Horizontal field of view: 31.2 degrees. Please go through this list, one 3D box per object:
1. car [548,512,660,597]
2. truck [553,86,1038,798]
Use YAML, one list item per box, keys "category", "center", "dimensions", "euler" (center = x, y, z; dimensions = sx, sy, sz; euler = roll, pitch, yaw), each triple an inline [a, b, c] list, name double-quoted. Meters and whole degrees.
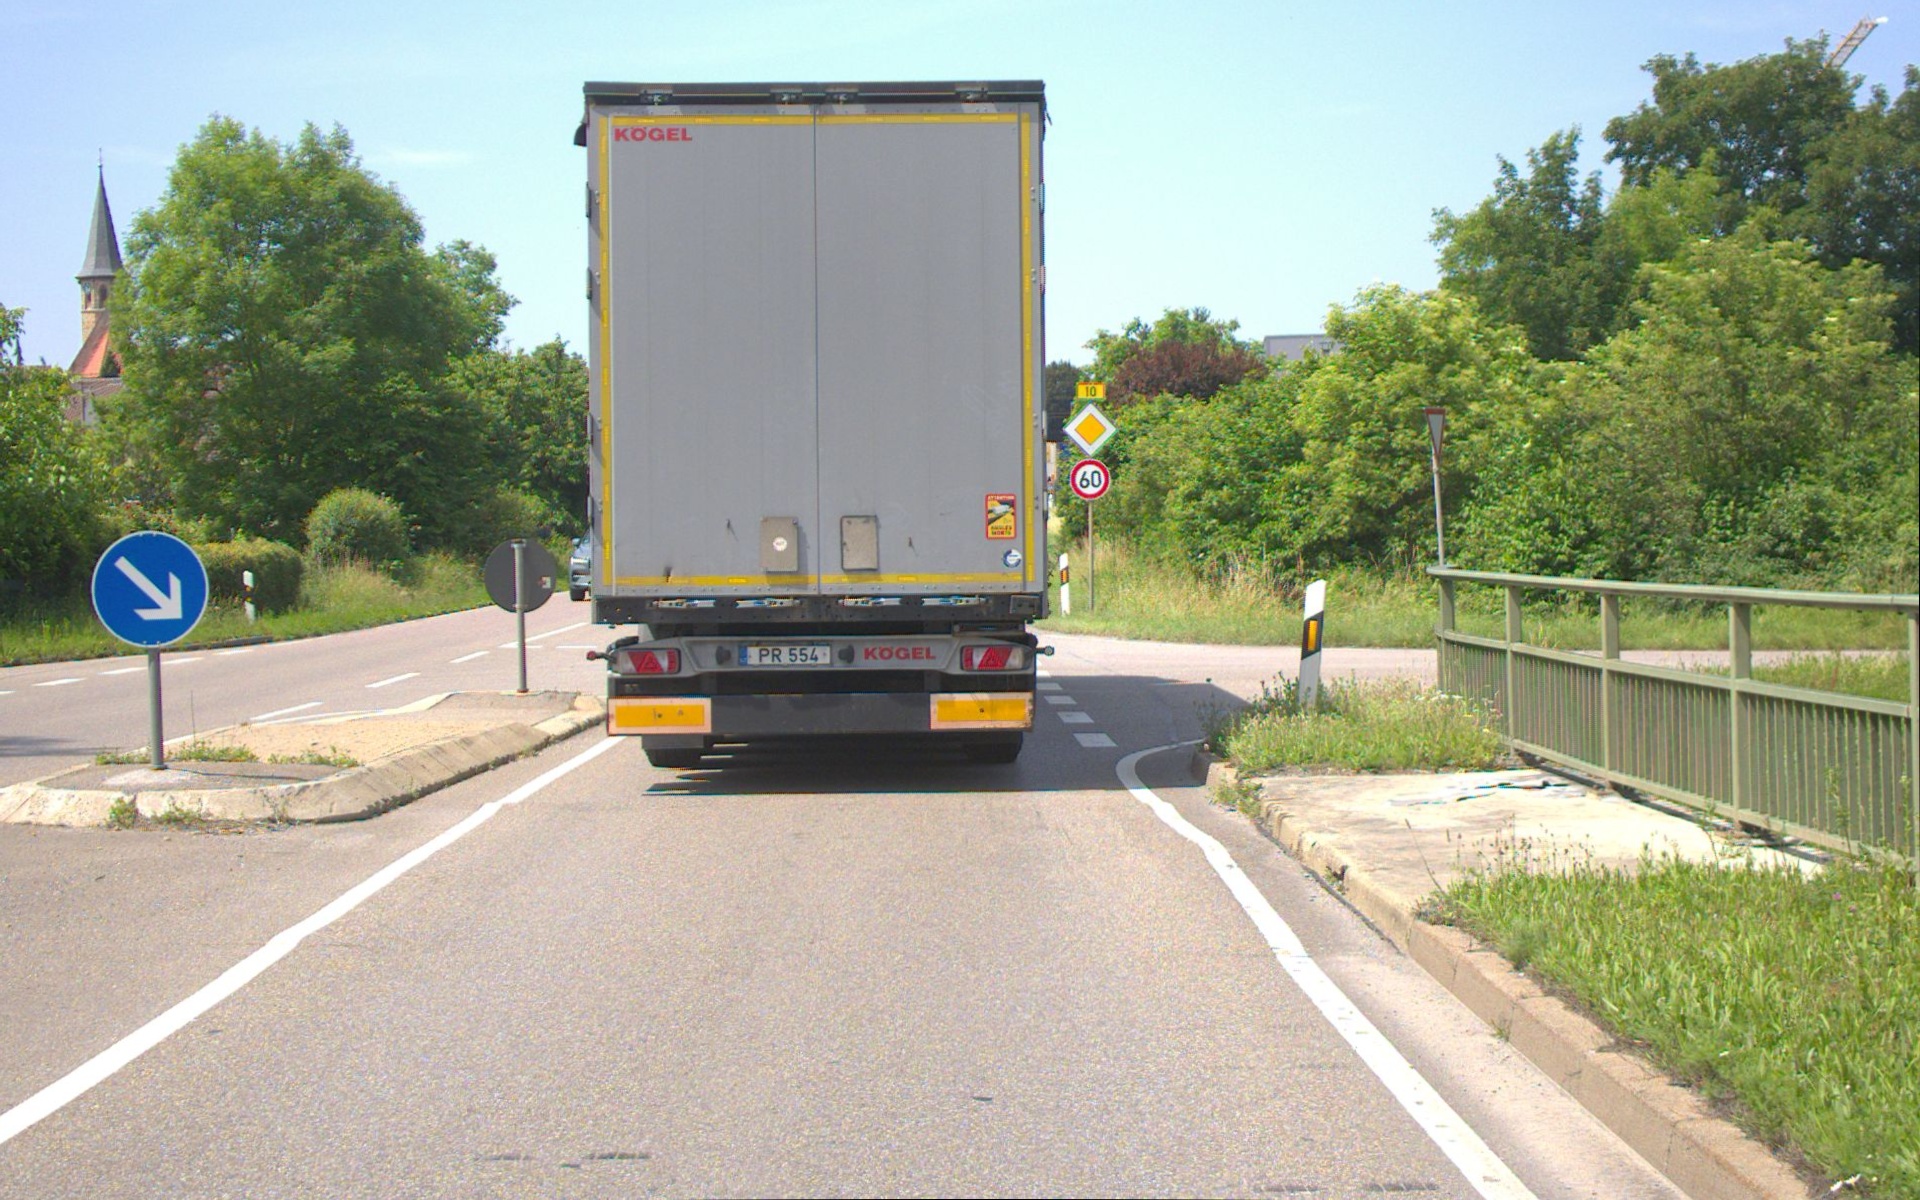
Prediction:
- category: "car"
  center: [-7.307, -0.952, 70.869]
  dimensions: [1.948, 1.648, 4.432]
  euler: [-1, 1, -2]
- category: "truck"
  center: [-1.085, -0.984, 23.337]
  dimensions: [2.647, 3.903, 8.826]
  euler: [0, 1, -2]
